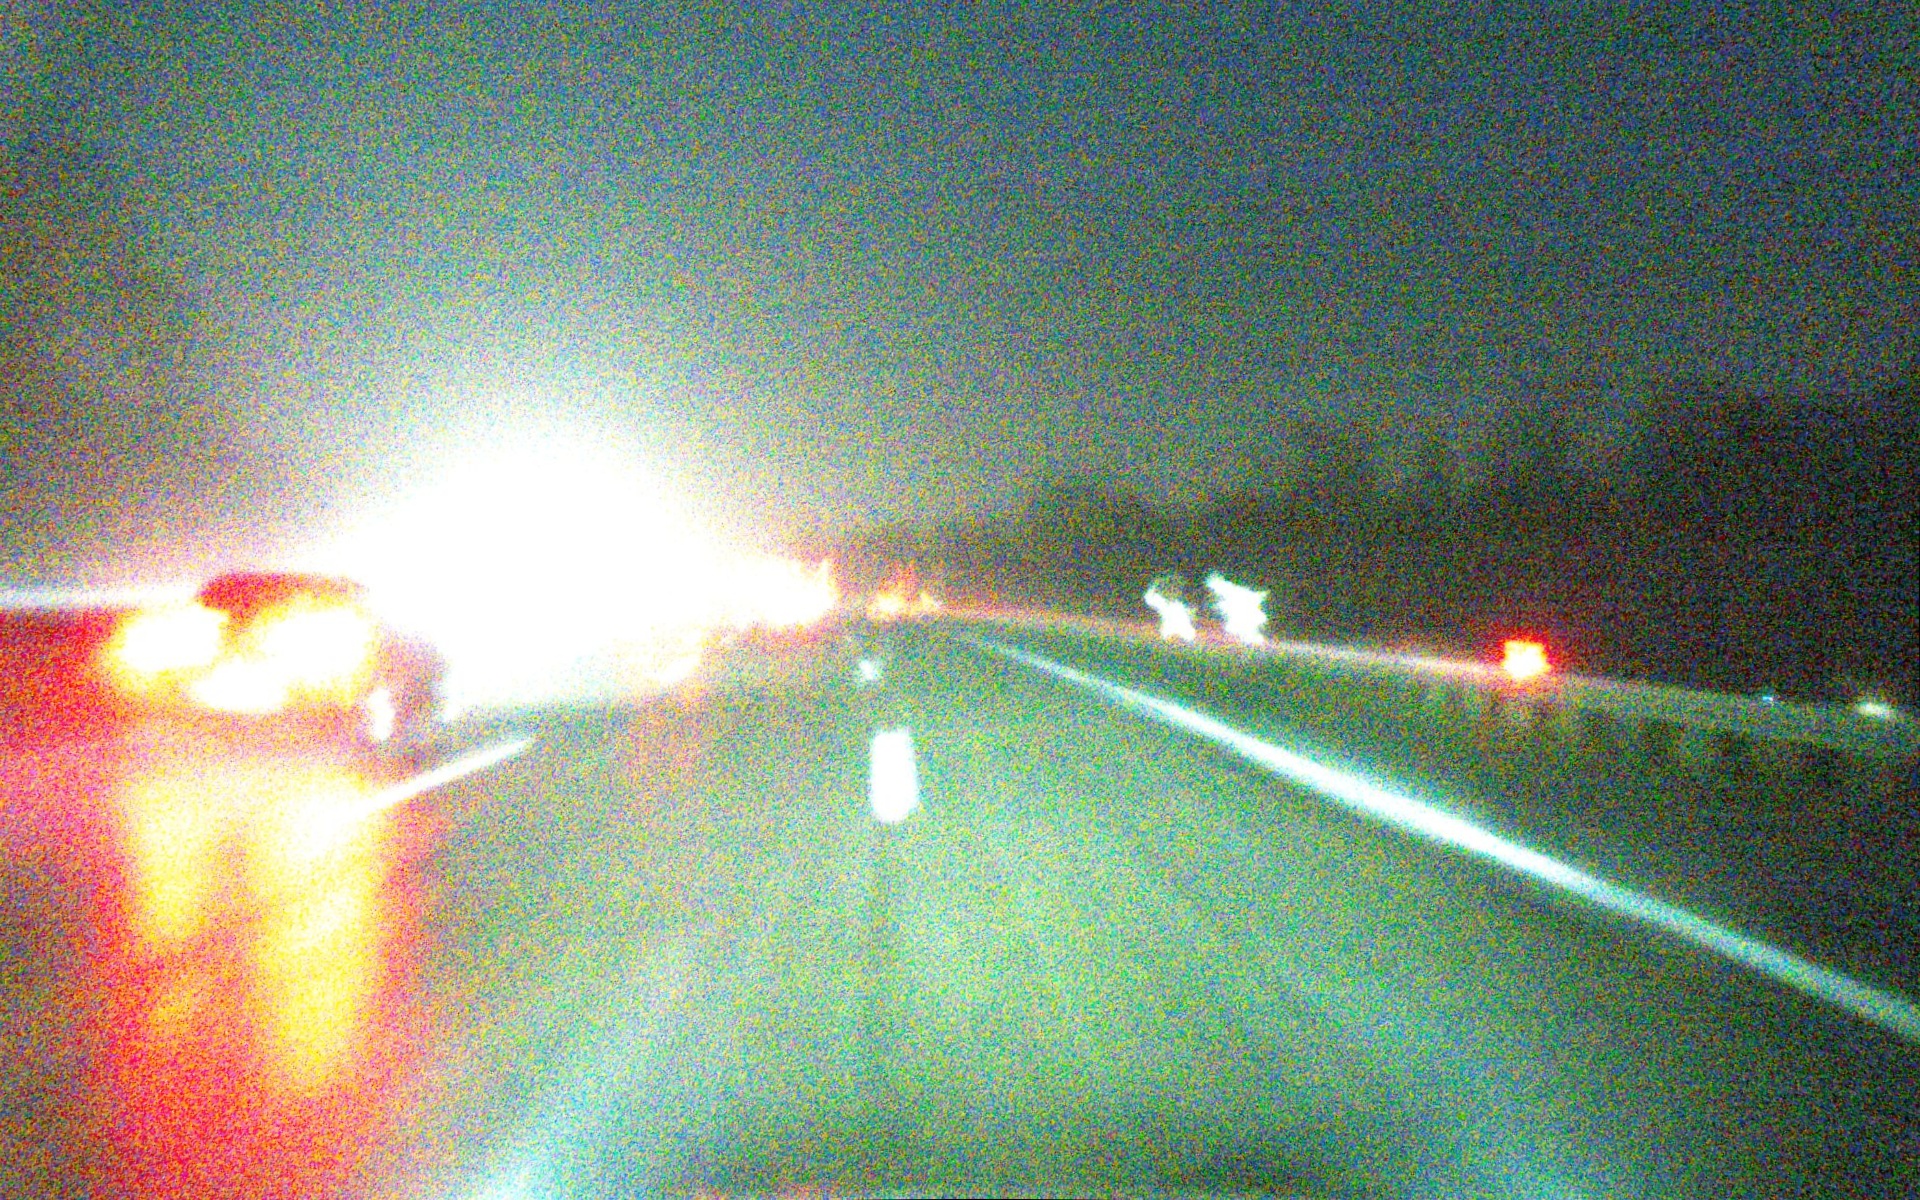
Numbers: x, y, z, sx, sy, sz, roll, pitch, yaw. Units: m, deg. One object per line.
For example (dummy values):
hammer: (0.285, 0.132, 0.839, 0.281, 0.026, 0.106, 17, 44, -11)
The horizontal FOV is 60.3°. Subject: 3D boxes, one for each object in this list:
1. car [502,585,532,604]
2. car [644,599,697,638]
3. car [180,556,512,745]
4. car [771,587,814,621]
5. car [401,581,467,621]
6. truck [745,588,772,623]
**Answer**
car: (-30.440, -0.392, 113.718, 1.378, 1.288, 4.065, 1, 0, -7)
car: (-9.922, 0.654, 56.859, 1.631, 1.258, 3.754, 1, -1, -8)
car: (-6.127, 0.463, 17.155, 1.822, 1.567, 4.747, 4, 0, -4)
car: (-7.764, 0.188, 77.102, 1.766, 1.513, 3.998, 1, 0, -3)
car: (-23.285, 0.038, 73.352, 1.737, 1.660, 4.699, 1, 0, -4)
truck: (-18.813, 0.531, 154.336, 1.958, 3.096, 6.446, 1, -1, -11)
